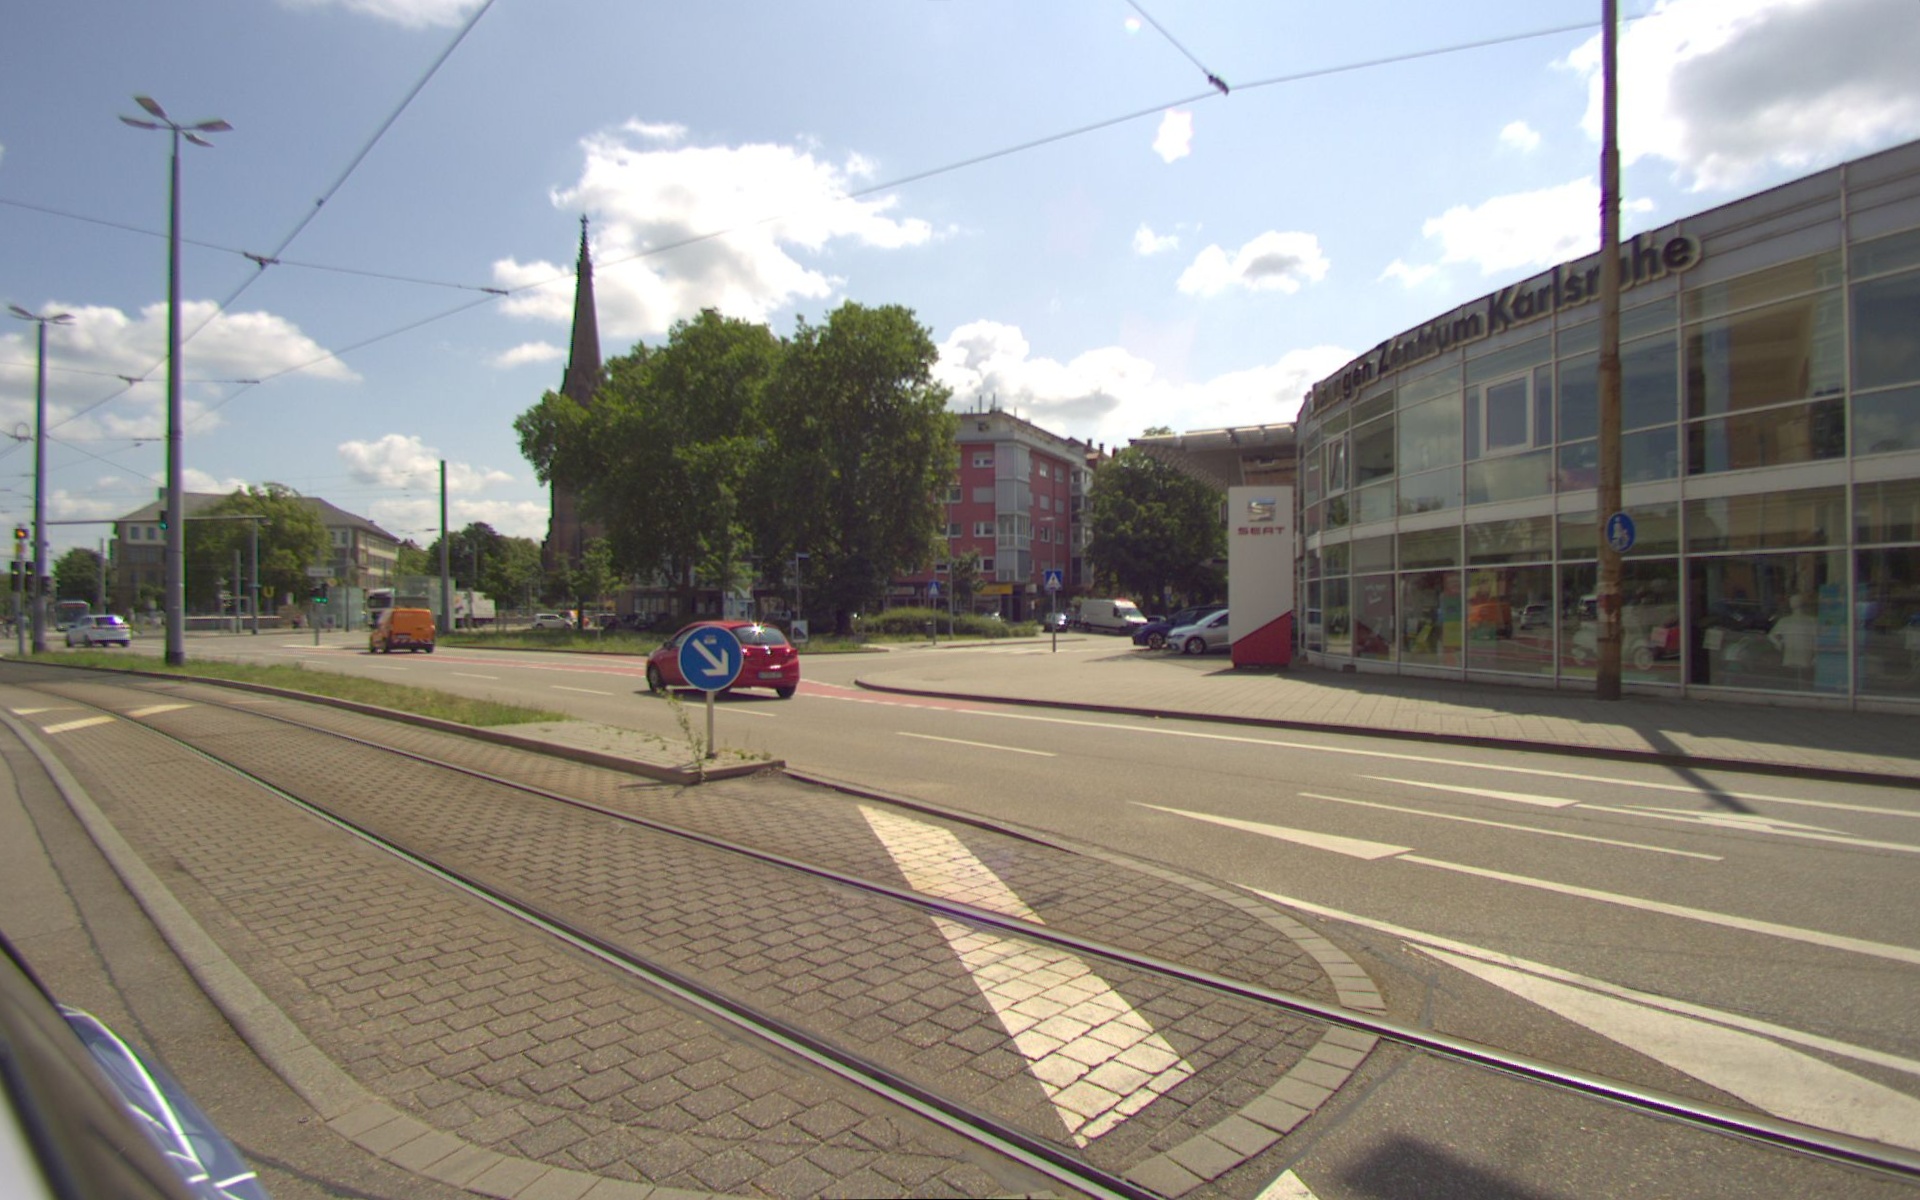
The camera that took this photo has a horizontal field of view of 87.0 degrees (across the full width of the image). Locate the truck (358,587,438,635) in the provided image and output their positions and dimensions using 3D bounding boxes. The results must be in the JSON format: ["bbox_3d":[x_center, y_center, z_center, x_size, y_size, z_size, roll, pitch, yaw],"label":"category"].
[{"bbox_3d":[-50.921,1.018,91.956,2.928,4.150,6.864,-1,-1,7],"label":"truck"}]

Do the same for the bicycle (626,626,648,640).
[{"bbox_3d":[-25.151,2.565,78.856,1.583,1.074,0.492,-1,-1,7],"label":"bicycle"}]

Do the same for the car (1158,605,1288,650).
[{"bbox_3d":[8.808,0.914,34.134,3.893,1.458,1.834,-1,-1,2],"label":"car"}]

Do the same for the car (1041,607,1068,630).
[{"bbox_3d":[7.202,1.449,77.657,1.975,1.719,3.994,-1,-1,5],"label":"car"}]

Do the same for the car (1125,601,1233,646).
[{"bbox_3d":[8.060,0.870,37.302,3.751,1.485,1.653,-3,-2,14],"label":"car"}]

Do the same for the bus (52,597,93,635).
[{"bbox_3d":[-86.540,1.594,98.663,2.906,3.474,7.958,0,-2,-41],"label":"bus"}]

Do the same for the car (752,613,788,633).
[{"bbox_3d":[-15.001,1.837,80.065,1.856,1.522,3.926,-1,-1,5],"label":"car"}]

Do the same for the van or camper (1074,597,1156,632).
[{"bbox_3d":[11.670,1.103,76.685,2.535,2.518,6.703,0,-1,-30],"label":"van or camper"}]

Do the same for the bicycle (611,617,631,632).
[{"bbox_3d":[-28.743,2.061,85.858,1.583,1.274,0.492,-1,-1,7],"label":"bicycle"}]

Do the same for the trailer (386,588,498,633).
[{"bbox_3d":[-50.181,1.073,98.779,2.913,4.107,13.393,-1,-1,6],"label":"trailer"}]

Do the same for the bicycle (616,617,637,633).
[{"bbox_3d":[-27.405,2.065,83.254,1.583,1.274,0.492,-1,-1,7],"label":"bicycle"}]

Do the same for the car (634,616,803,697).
[{"bbox_3d":[-4.852,1.070,19.992,1.680,1.439,3.908,3,-3,-40],"label":"car"}]

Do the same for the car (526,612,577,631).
[{"bbox_3d":[-37.561,2.003,93.147,4.103,1.655,1.634,0,-1,-35],"label":"car"}]

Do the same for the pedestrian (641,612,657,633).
[{"bbox_3d":[-23.509,1.710,76.471,0.871,1.572,0.720,-2,-1,15],"label":"pedestrian"}]

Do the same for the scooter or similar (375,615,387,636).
[{"bbox_3d":[-33.615,1.490,58.748,0.548,1.209,0.457,-2,-2,36],"label":"scooter or similar"}]

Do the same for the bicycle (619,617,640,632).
[{"bbox_3d":[-26.837,2.009,82.231,1.583,1.176,0.492,-1,-1,7],"label":"bicycle"}]

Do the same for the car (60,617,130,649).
[{"bbox_3d":[-45.553,1.726,53.269,4.483,1.616,1.751,-1,-2,35],"label":"car"}]

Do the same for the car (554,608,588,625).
[{"bbox_3d":[-41.420,1.713,107.872,1.748,1.779,4.237,-1,-1,3],"label":"car"}]

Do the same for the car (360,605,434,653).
[{"bbox_3d":[-23.232,1.201,41.687,1.887,1.880,4.374,2,-2,-40],"label":"car"}]
